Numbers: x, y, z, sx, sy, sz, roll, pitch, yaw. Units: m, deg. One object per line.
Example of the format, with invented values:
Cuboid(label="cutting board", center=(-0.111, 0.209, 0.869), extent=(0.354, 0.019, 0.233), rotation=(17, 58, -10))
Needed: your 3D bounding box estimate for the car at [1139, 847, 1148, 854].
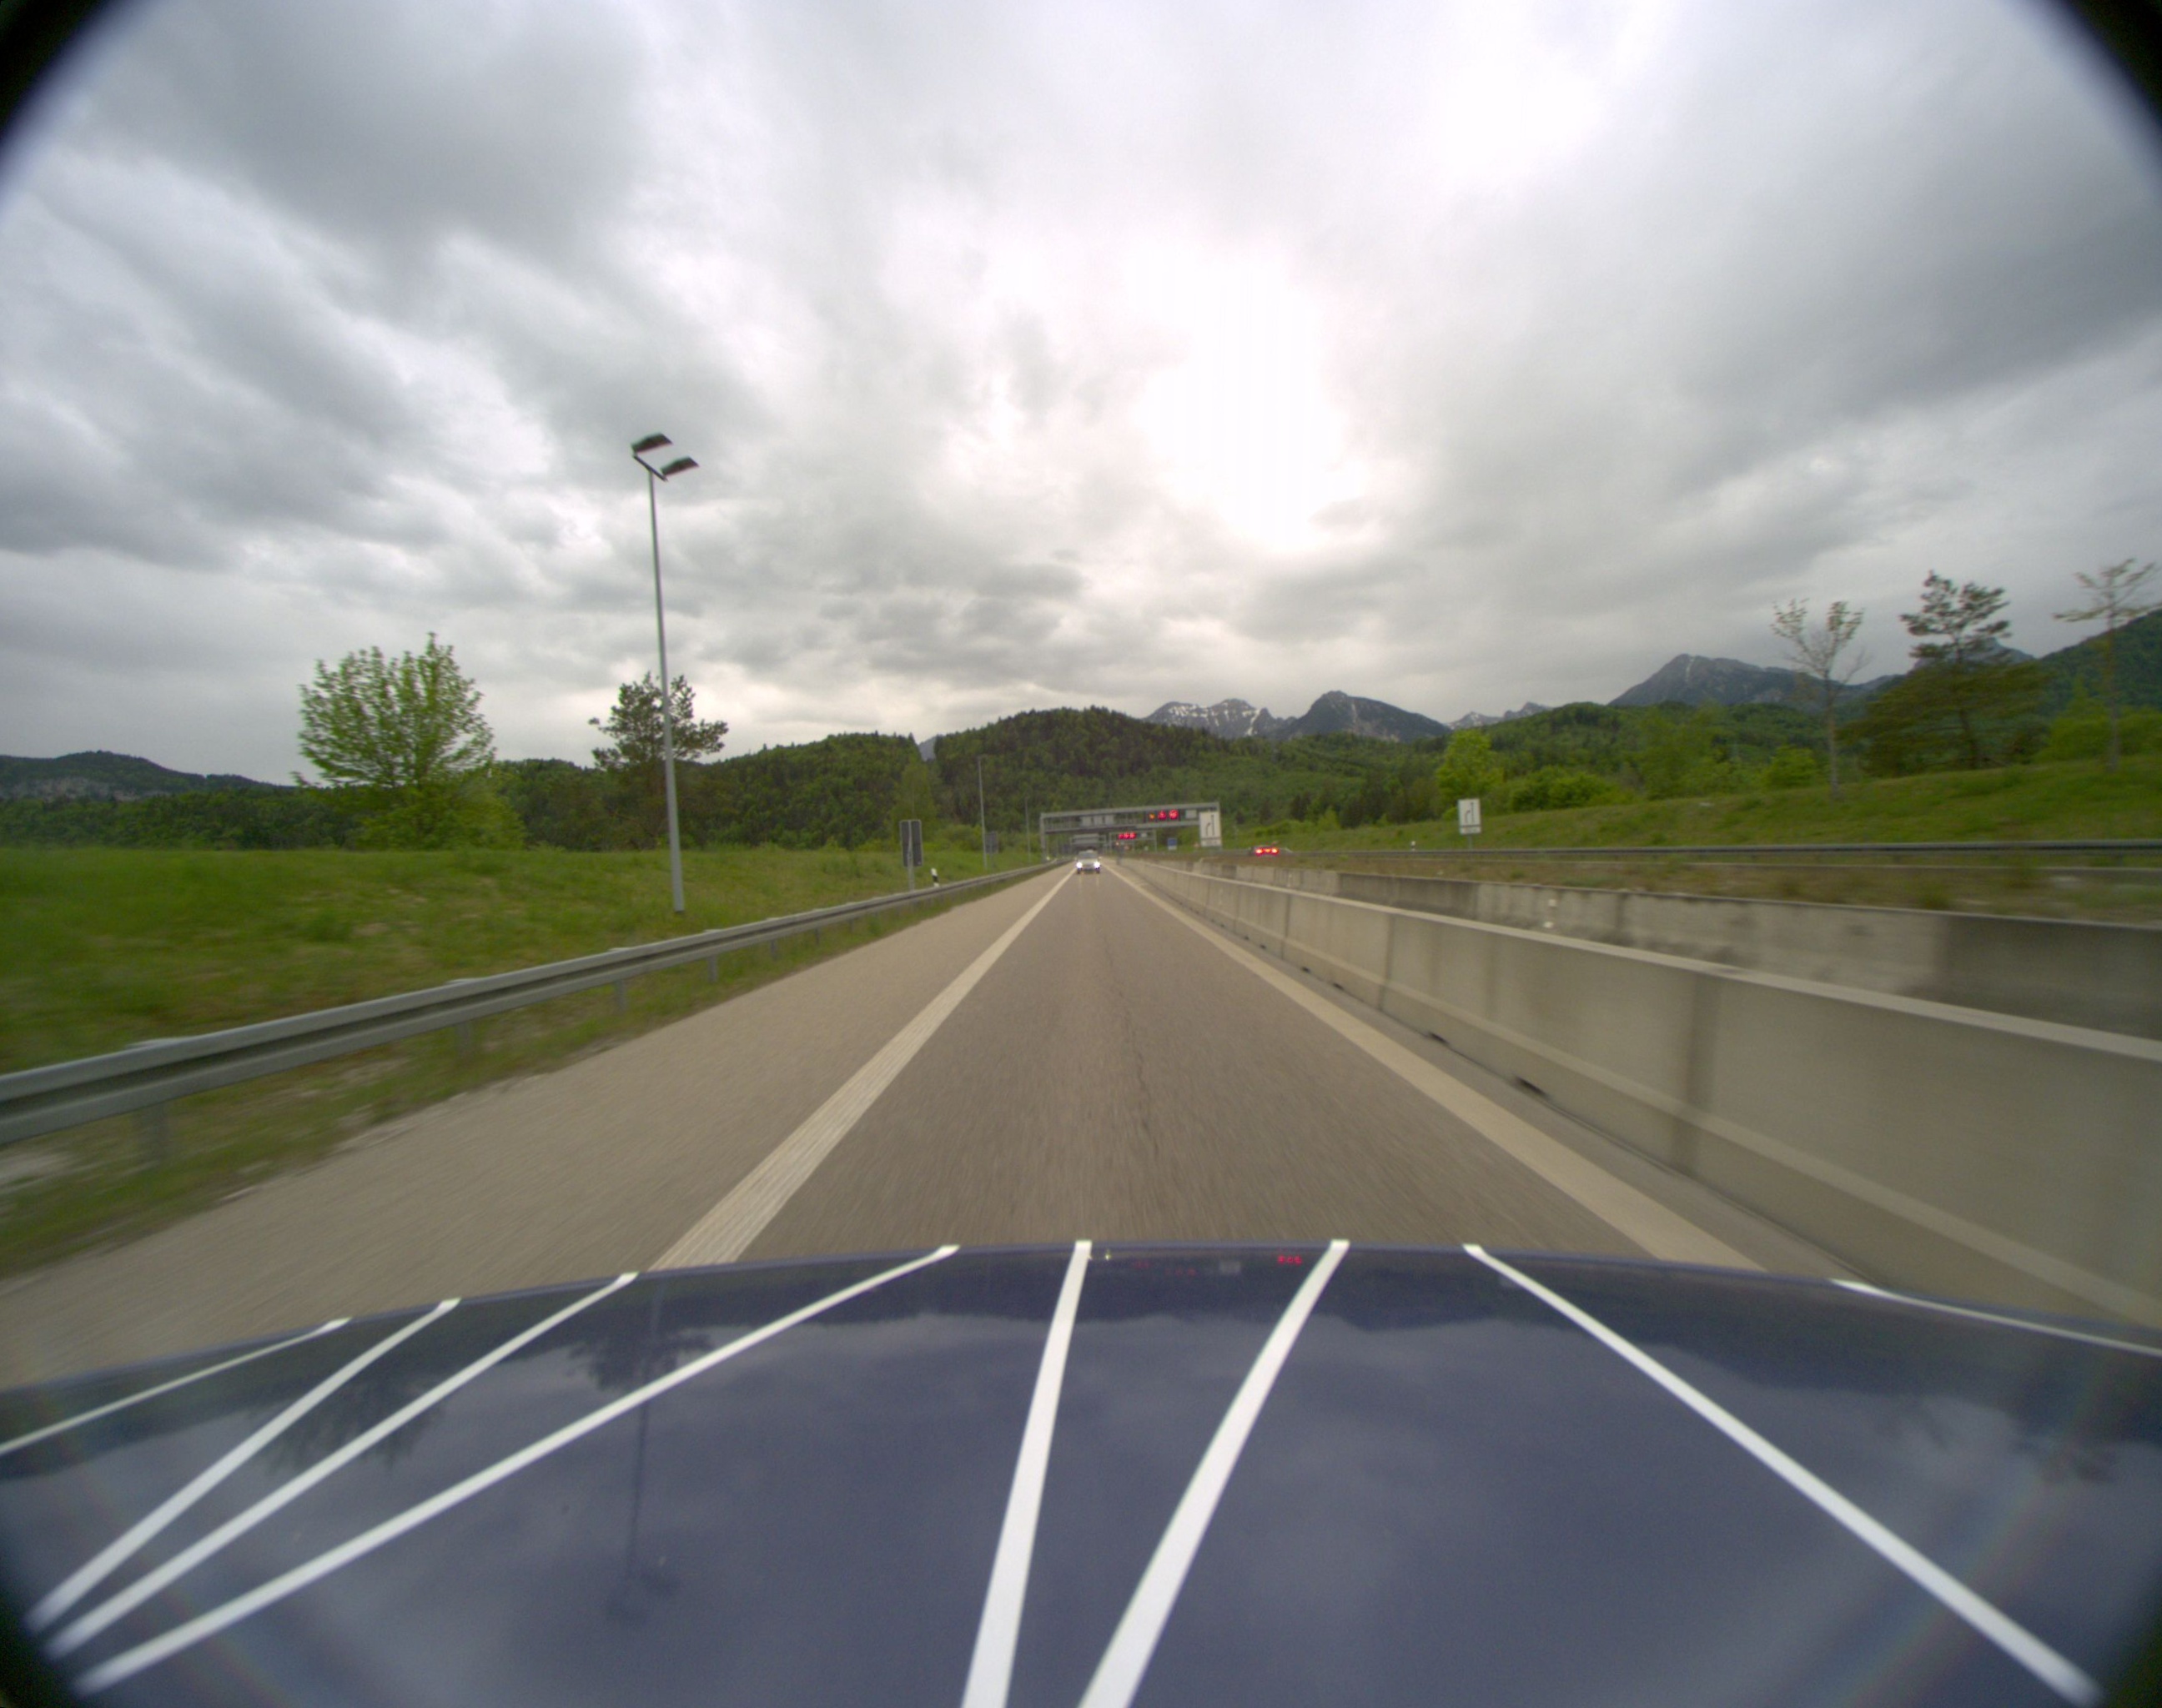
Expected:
Cuboid(label="car", center=(16.049, -0.896, 195.653), extent=(1.883, 1.726, 5.751), rotation=(-3, 0, 1))

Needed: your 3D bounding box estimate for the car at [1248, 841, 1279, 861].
Cuboid(label="car", center=(15.579, -0.243, 65.042), extent=(1.706, 1.566, 4.176), rotation=(-3, 0, 1))

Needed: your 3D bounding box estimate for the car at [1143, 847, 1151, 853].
Cuboid(label="car", center=(18.743, -1.104, 216.117), extent=(1.772, 1.598, 4.405), rotation=(-3, 0, 0))

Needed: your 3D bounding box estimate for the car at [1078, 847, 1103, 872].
Cuboid(label="car", center=(0.840, 0.434, 64.247), extent=(1.922, 1.871, 5.138), rotation=(-2, 1, 3))
